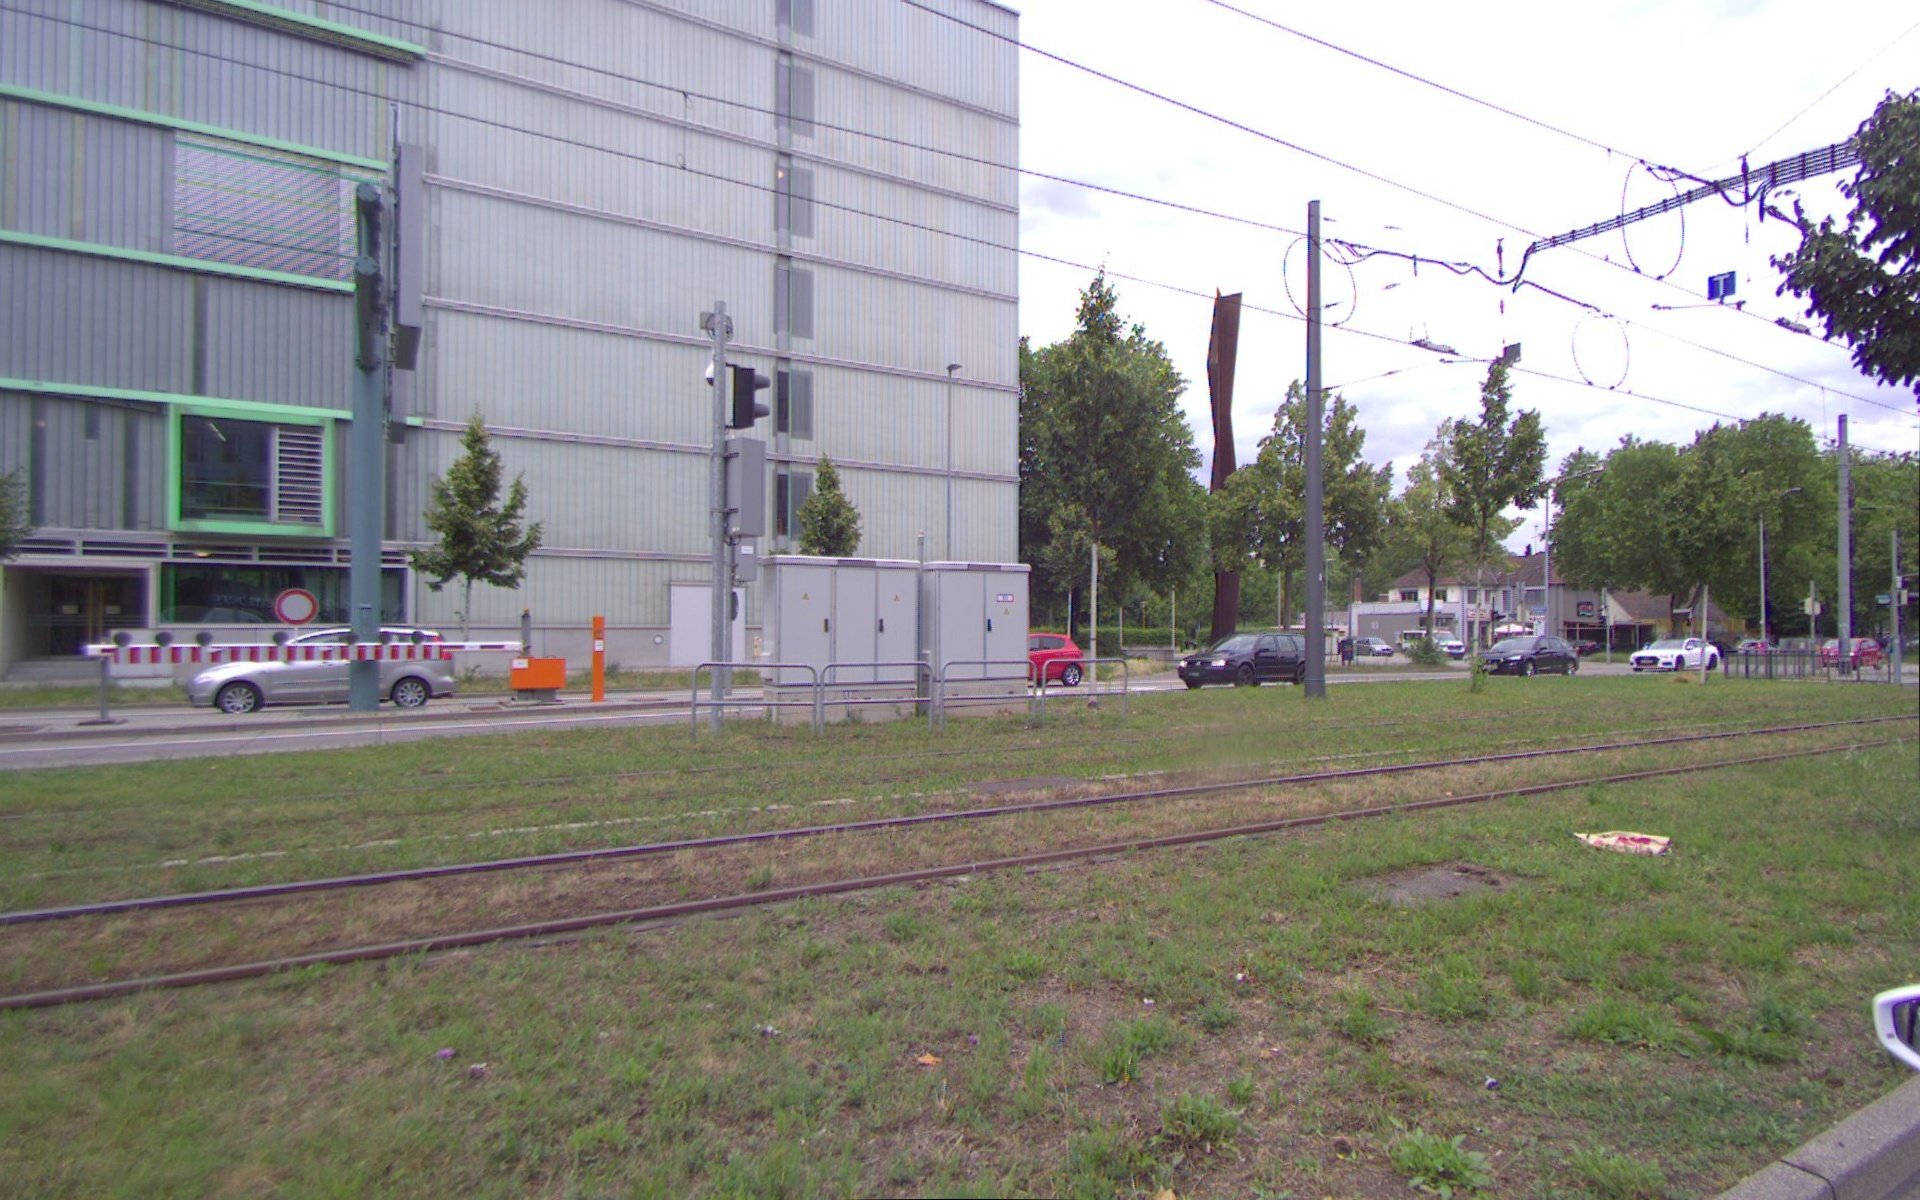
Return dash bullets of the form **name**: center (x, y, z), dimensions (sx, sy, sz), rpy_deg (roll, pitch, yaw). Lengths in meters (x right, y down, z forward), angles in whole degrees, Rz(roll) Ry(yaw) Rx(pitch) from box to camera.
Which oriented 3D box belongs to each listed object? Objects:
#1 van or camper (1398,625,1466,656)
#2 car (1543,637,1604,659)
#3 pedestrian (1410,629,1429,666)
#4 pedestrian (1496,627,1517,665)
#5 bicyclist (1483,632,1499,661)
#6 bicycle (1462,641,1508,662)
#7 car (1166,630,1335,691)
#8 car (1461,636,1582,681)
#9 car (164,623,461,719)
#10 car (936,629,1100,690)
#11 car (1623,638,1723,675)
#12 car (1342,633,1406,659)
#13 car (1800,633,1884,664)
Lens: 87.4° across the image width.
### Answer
- **van or camper**: center (32.420, 2.744, 69.177), dimensions (2.416, 2.040, 5.283), rpy_deg (0, -1, 2)
- **car**: center (54.976, 4.285, 90.084), dimensions (2.078, 1.840, 4.268), rpy_deg (1, -1, -25)
- **pedestrian**: center (25.895, 2.671, 56.621), dimensions (0.887, 2.040, 0.954), rpy_deg (0, -1, 18)
- **pedestrian**: center (26.830, 2.244, 49.313), dimensions (0.769, 1.856, 0.771), rpy_deg (-1, -1, 43)
- **bicyclist**: center (32.852, 2.849, 62.135), dimensions (0.838, 1.744, 0.719), rpy_deg (0, -1, 34)
- **bicycle**: center (32.561, 3.201, 62.335), dimensions (2.474, 1.218, 0.738), rpy_deg (-1, -1, 35)
- **car**: center (7.503, 1.503, 25.748), dimensions (4.701, 1.445, 1.652), rpy_deg (1, -3, -37)
- **car**: center (18.733, 1.902, 33.485), dimensions (4.011, 1.395, 1.792), rpy_deg (1, -1, -31)
- **car**: center (-12.305, 1.290, 19.408), dimensions (4.623, 1.665, 1.711), rpy_deg (1, -1, -33)
- **car**: center (1.622, 1.594, 27.858), dimensions (4.275, 1.591, 1.788), rpy_deg (1, -1, -29)
- **car**: center (32.369, 2.524, 45.561), dimensions (5.017, 1.609, 1.803), rpy_deg (1, -1, -30)
- **car**: center (31.324, 3.468, 76.075), dimensions (2.078, 1.840, 4.268), rpy_deg (1, -1, -25)
- **car**: center (41.437, 2.264, 47.183), dimensions (4.220, 1.395, 1.802), rpy_deg (1, -1, -31)
